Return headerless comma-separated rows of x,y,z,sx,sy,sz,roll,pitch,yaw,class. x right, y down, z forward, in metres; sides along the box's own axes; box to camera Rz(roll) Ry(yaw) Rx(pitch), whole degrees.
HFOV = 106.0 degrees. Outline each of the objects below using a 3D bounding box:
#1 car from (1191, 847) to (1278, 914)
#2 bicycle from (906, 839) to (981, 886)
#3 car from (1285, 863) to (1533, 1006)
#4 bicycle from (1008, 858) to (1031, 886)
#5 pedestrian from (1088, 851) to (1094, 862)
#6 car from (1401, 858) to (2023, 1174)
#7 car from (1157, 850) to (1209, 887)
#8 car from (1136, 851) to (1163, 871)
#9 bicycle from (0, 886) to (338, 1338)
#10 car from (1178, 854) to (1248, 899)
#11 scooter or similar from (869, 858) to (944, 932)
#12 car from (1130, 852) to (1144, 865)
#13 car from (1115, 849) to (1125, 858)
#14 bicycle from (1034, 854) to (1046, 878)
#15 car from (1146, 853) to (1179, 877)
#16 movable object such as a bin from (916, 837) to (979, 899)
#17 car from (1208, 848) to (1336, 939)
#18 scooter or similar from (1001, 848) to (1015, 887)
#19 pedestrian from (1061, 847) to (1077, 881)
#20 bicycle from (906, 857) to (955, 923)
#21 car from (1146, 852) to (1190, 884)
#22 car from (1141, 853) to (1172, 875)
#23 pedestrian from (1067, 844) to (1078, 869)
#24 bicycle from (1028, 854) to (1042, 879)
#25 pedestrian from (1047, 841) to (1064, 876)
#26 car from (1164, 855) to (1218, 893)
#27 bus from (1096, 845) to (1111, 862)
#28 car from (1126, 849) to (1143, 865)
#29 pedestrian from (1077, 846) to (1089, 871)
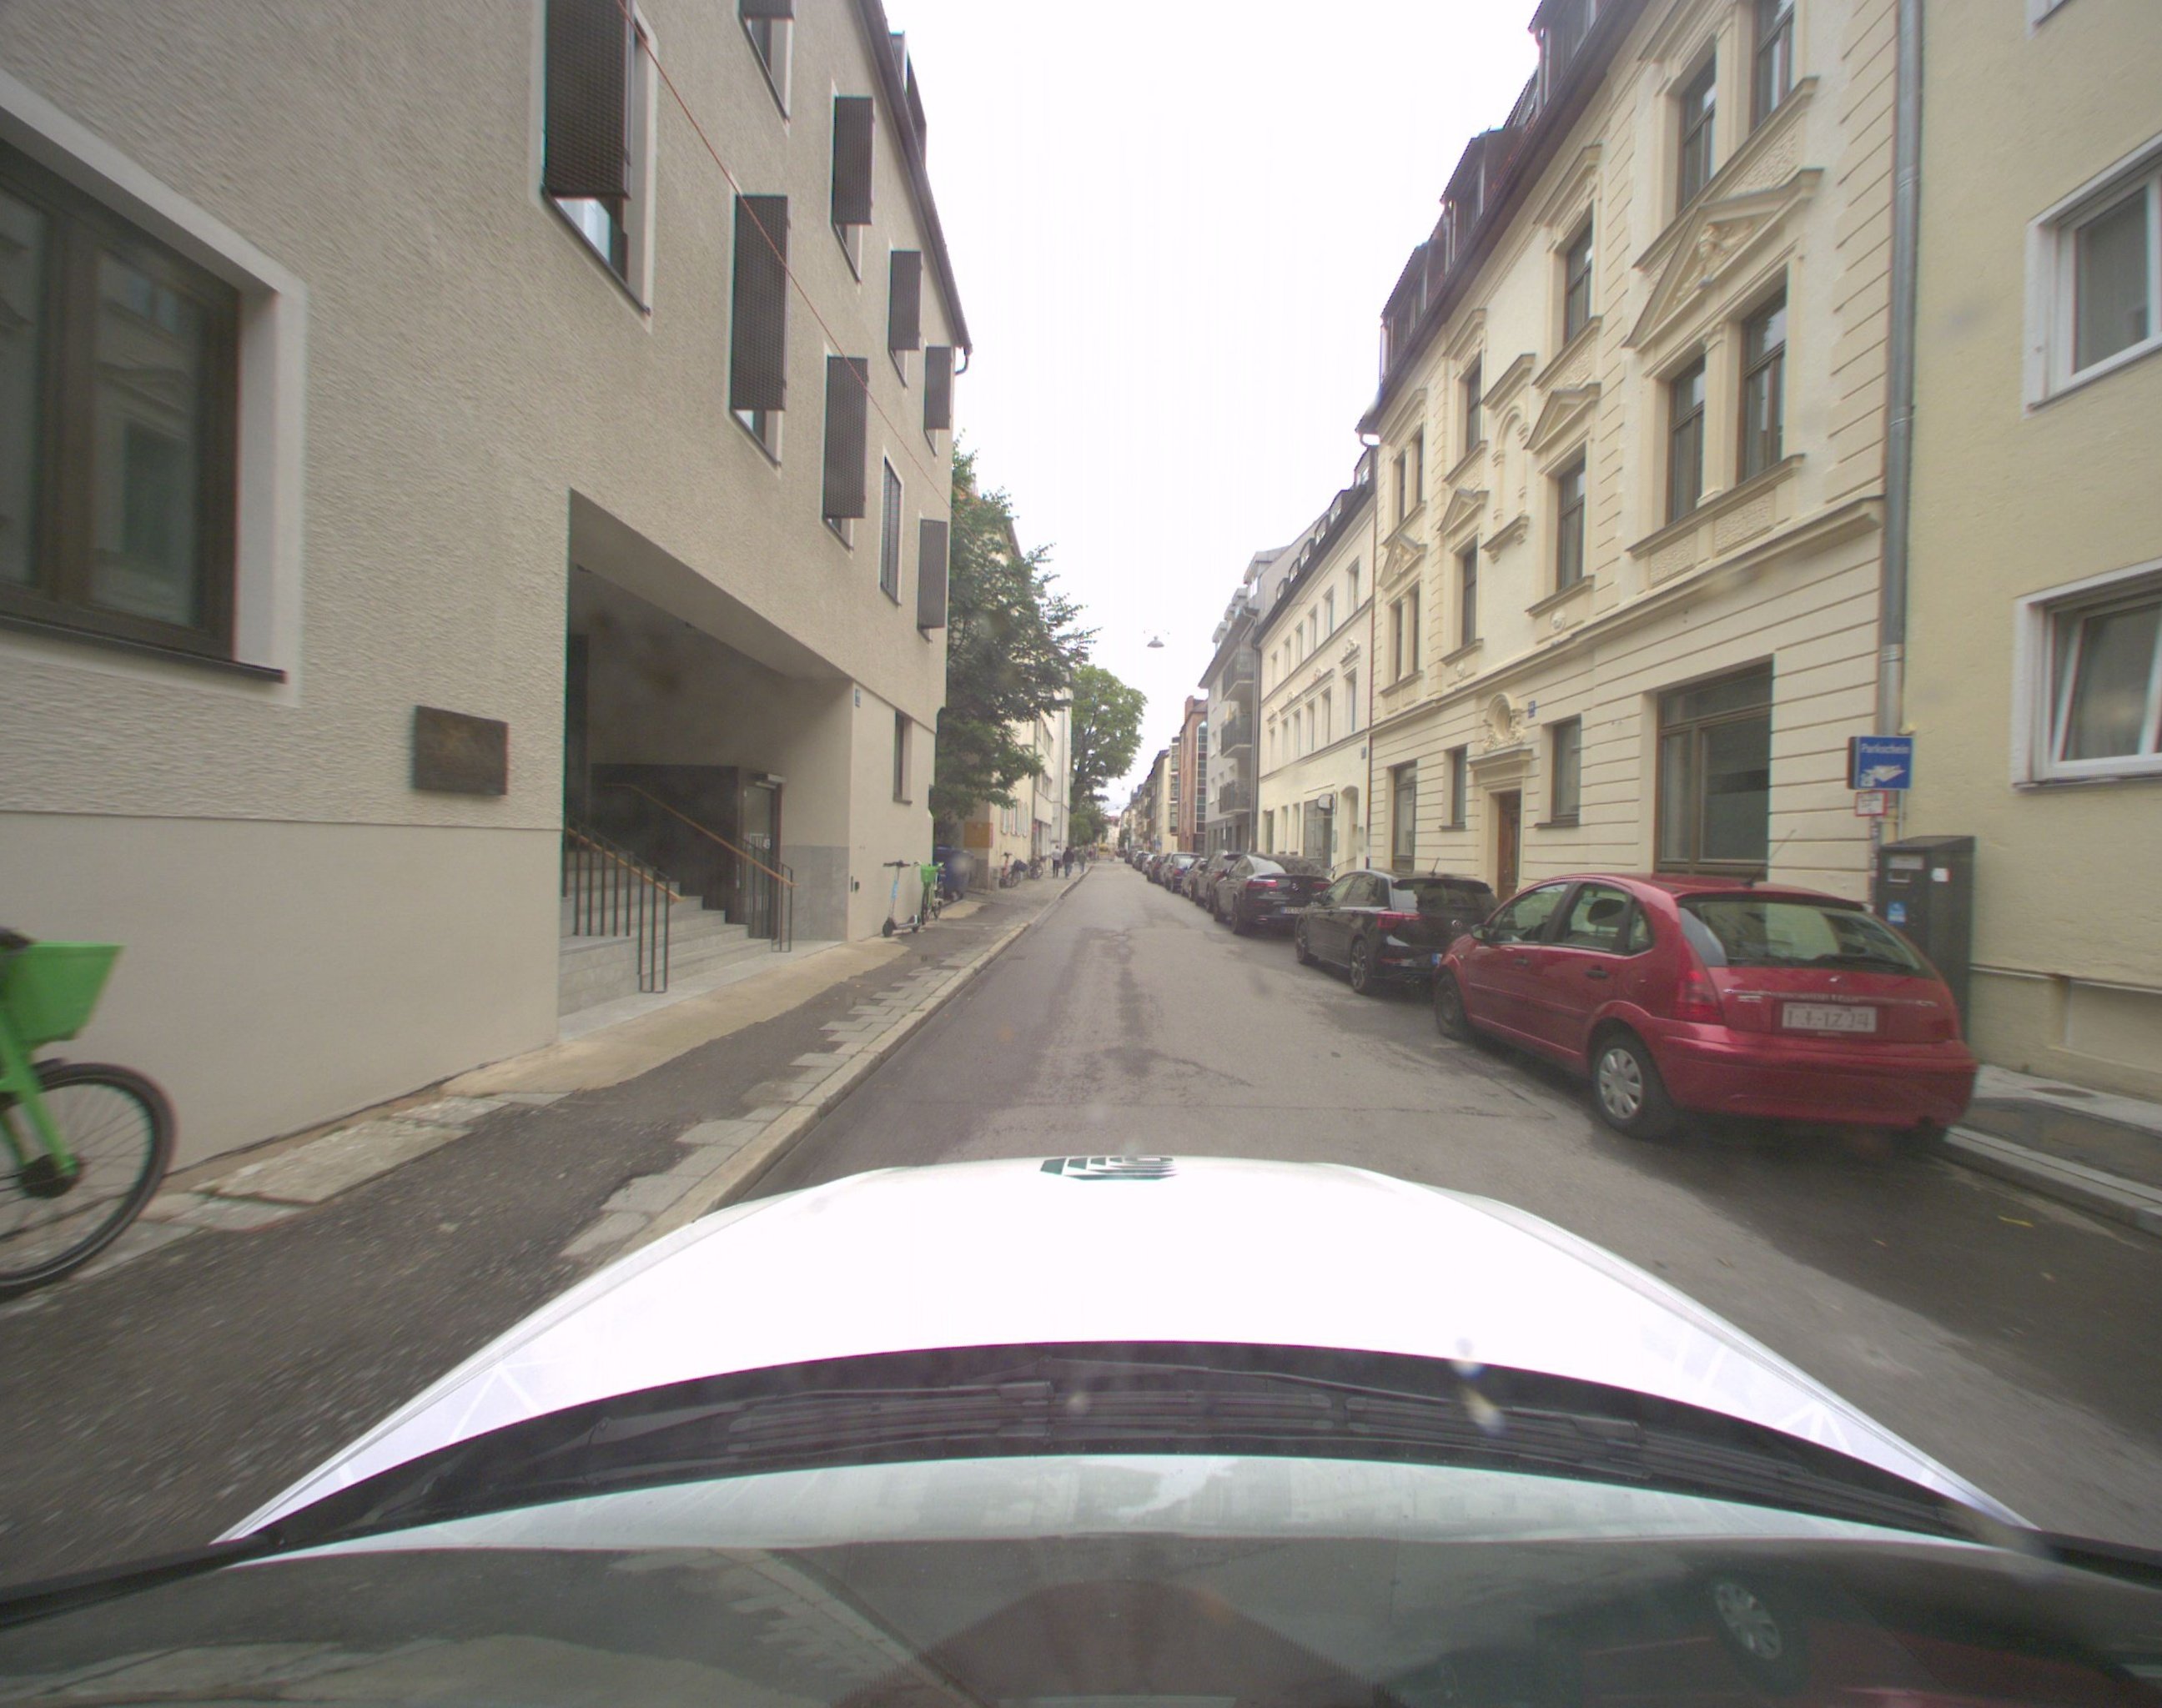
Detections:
4.197,0.659,22.917,1.670,1.661,4.514,2,0,2,car
-4.316,0.266,25.671,2.192,1.298,0.514,4,0,1,bicycle
3.969,0.872,10.618,1.670,1.393,4.067,2,0,2,car
-2.323,0.663,30.825,0.702,0.984,1.821,5,0,-2,bicycle
1.411,0.345,116.695,0.753,1.491,0.831,1,-1,2,pedestrian
3.915,0.823,6.009,1.670,1.492,3.855,2,0,2,car
4.631,0.625,37.517,1.869,1.570,4.316,0,0,0,car
5.618,0.555,67.265,1.880,1.555,4.391,2,0,0,car
-3.122,0.707,2.115,0.536,1.139,1.917,3,0,1,bicycle
4.455,0.727,28.058,1.793,1.385,4.350,1,0,1,car
-2.906,0.663,13.694,0.547,1.144,1.364,4,0,18,scooter or similar
6.805,0.482,99.316,1.618,1.487,3.810,2,0,2,car
8.698,-0.073,181.616,1.795,1.711,3.826,5,0,0,car
-2.062,0.610,40.684,0.560,1.159,1.718,2,0,-4,bicycle
5.256,0.679,52.816,1.739,1.462,4.151,2,0,1,car
-3.460,0.351,21.207,1.168,1.441,1.251,6,2,7,movable object such as a bin
3.844,0.713,17.172,1.695,1.607,4.686,2,0,2,car
-2.606,0.466,29.098,0.316,1.375,1.239,1,0,2,scooter or similar
-0.639,0.535,43.800,0.715,1.765,0.838,3,0,2,pedestrian
-2.885,0.657,15.760,0.542,1.161,1.882,3,0,0,bicycle
4.474,0.667,42.408,1.833,1.528,4.293,2,0,1,car
5.284,0.707,57.417,1.830,1.417,4.601,2,0,1,car
-0.613,0.163,57.228,0.610,1.713,0.823,3,0,1,pedestrian
-2.197,0.601,38.970,0.456,1.159,1.606,4,0,3,bicycle
-1.360,0.253,43.545,0.715,1.796,0.917,3,0,2,pedestrian
4.338,0.760,32.600,1.801,1.363,3.948,1,0,2,car
4.196,-0.120,149.508,2.583,3.102,6.309,1,0,2,bus
6.791,0.371,103.749,1.796,1.820,3.999,5,0,0,car
0.132,0.321,57.175,0.750,1.659,0.907,3,0,2,pedestrian
